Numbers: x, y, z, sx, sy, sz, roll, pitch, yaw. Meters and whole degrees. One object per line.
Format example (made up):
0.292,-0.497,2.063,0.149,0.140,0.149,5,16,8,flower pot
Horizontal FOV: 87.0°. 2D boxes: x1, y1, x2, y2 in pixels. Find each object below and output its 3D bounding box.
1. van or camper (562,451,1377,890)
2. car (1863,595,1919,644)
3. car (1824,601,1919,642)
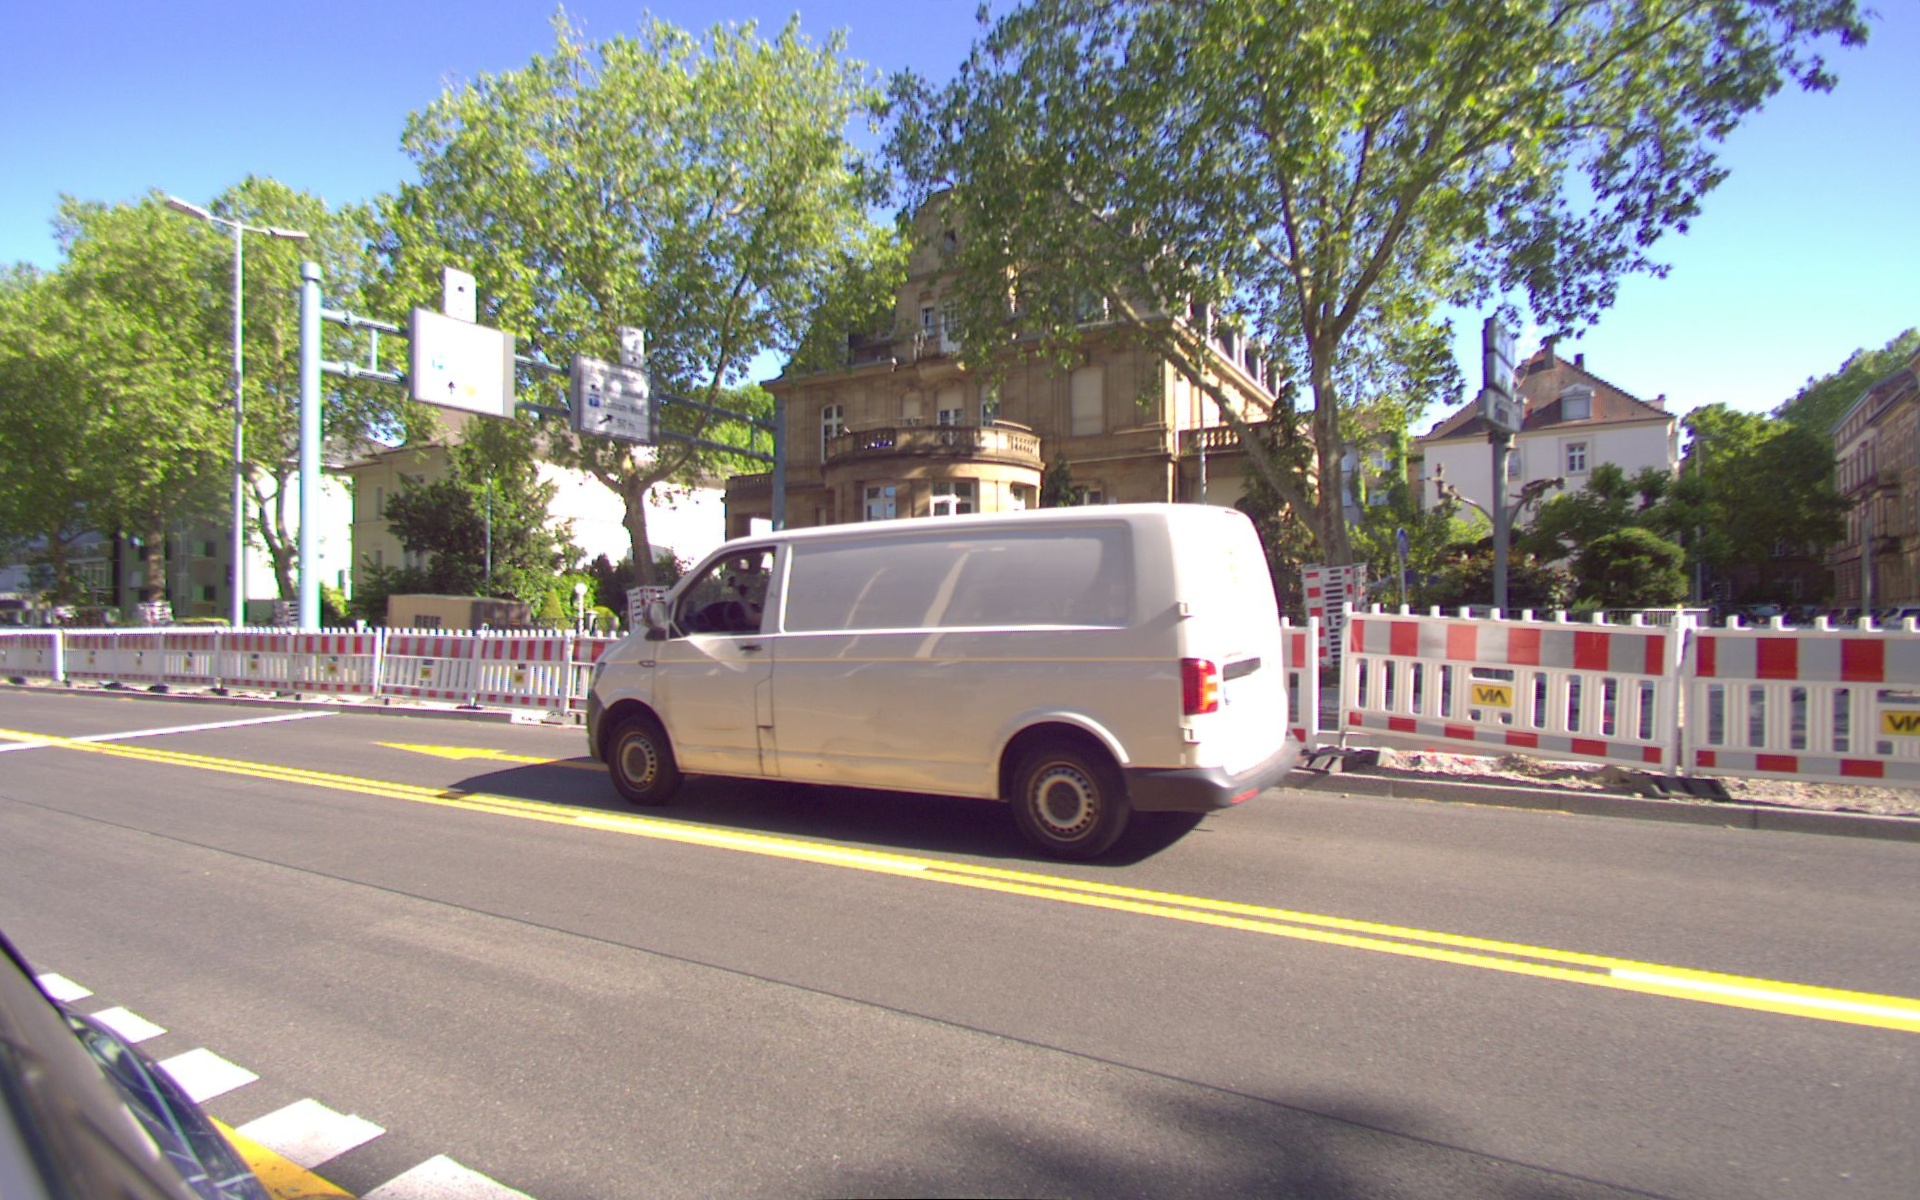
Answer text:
-0.155,0.365,6.913,5.309,2.029,1.979,-1,-1,31,van or camper
34.839,0.695,36.017,3.794,1.749,1.604,-1,-2,34,car
40.186,0.940,44.004,3.794,1.749,1.604,-1,-2,34,car
